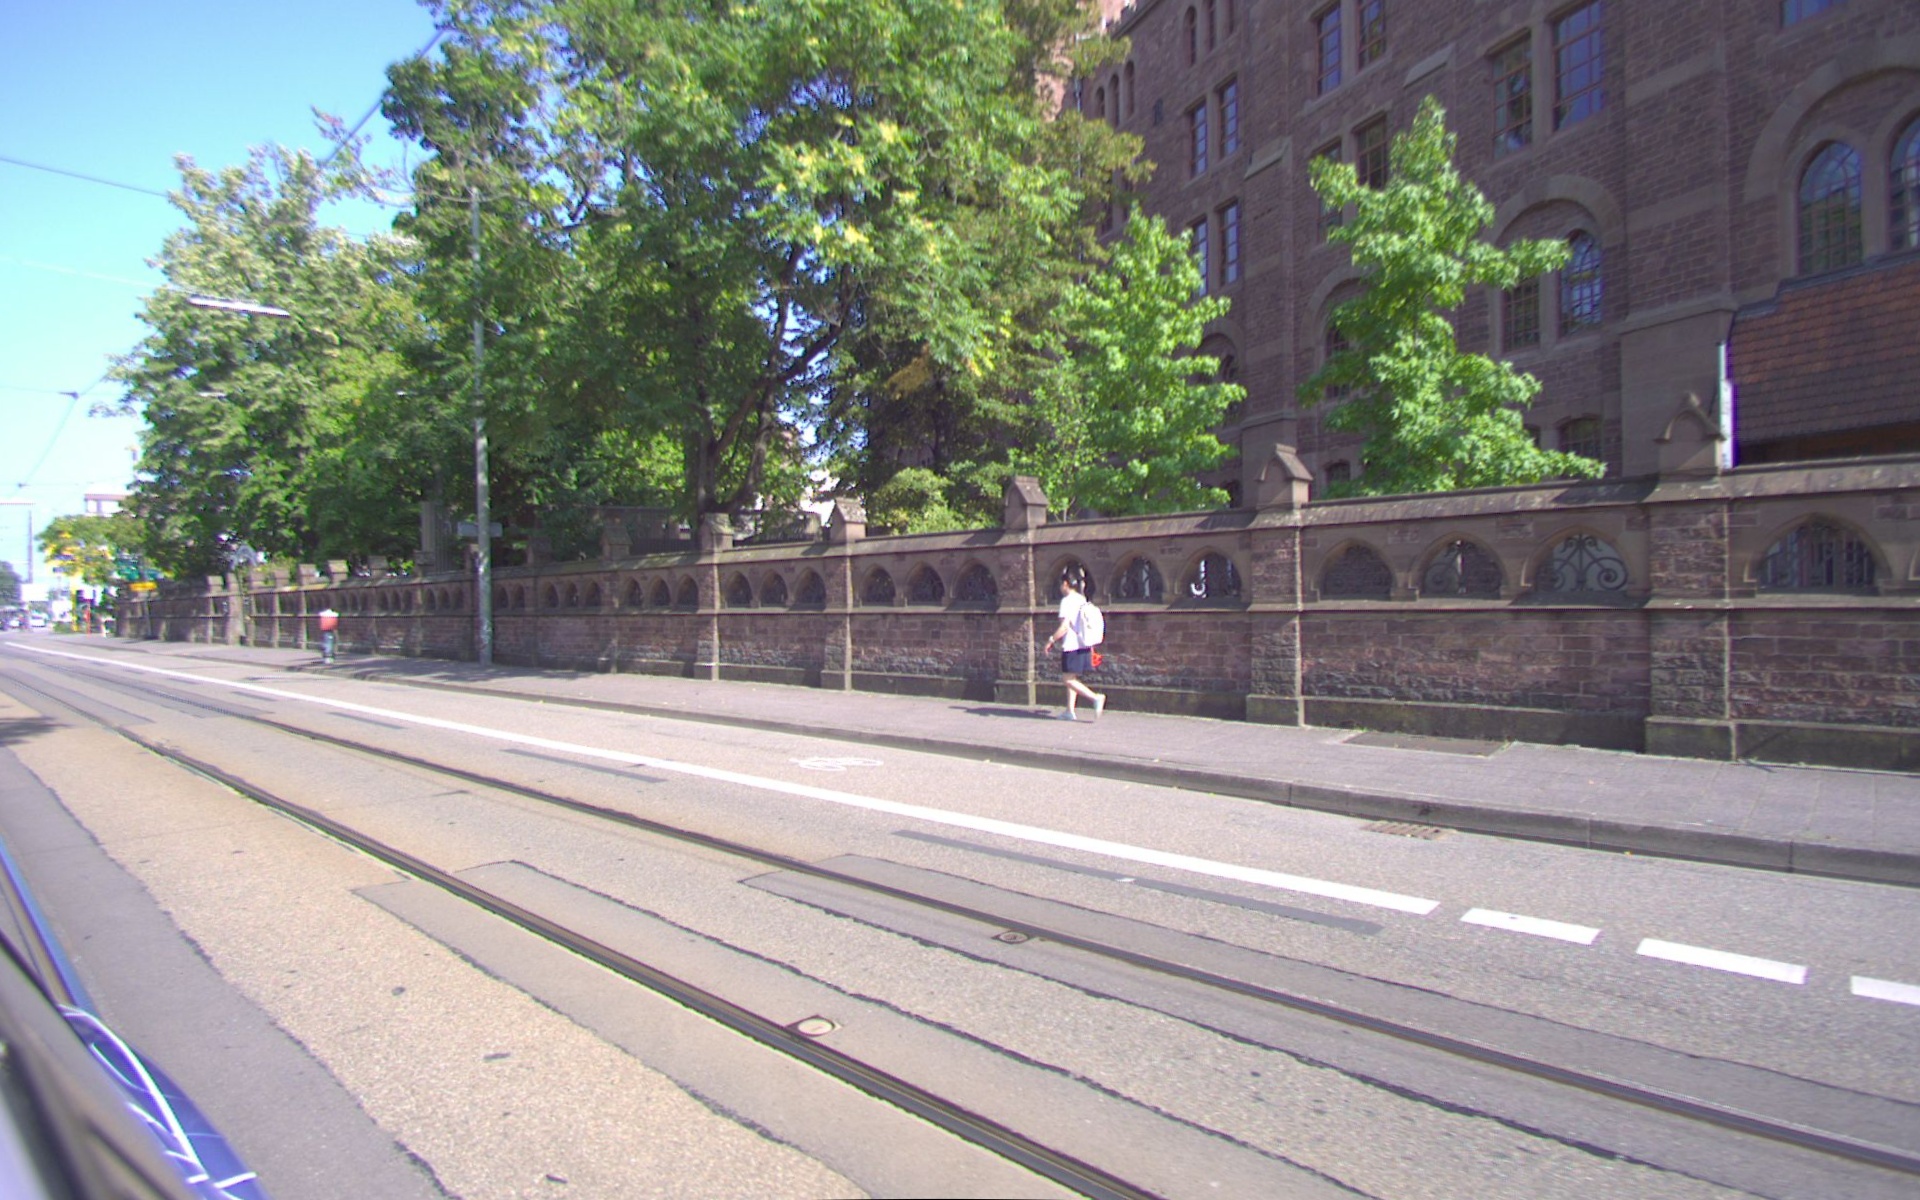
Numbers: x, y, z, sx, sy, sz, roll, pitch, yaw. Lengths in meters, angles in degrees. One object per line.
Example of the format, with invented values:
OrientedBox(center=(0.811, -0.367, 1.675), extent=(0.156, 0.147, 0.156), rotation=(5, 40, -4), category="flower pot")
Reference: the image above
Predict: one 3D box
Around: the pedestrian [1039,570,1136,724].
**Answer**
OrientedBox(center=(1.393, 0.489, 11.058), extent=(0.775, 1.601, 0.707), rotation=(-1, 0, 42), category="pedestrian")
